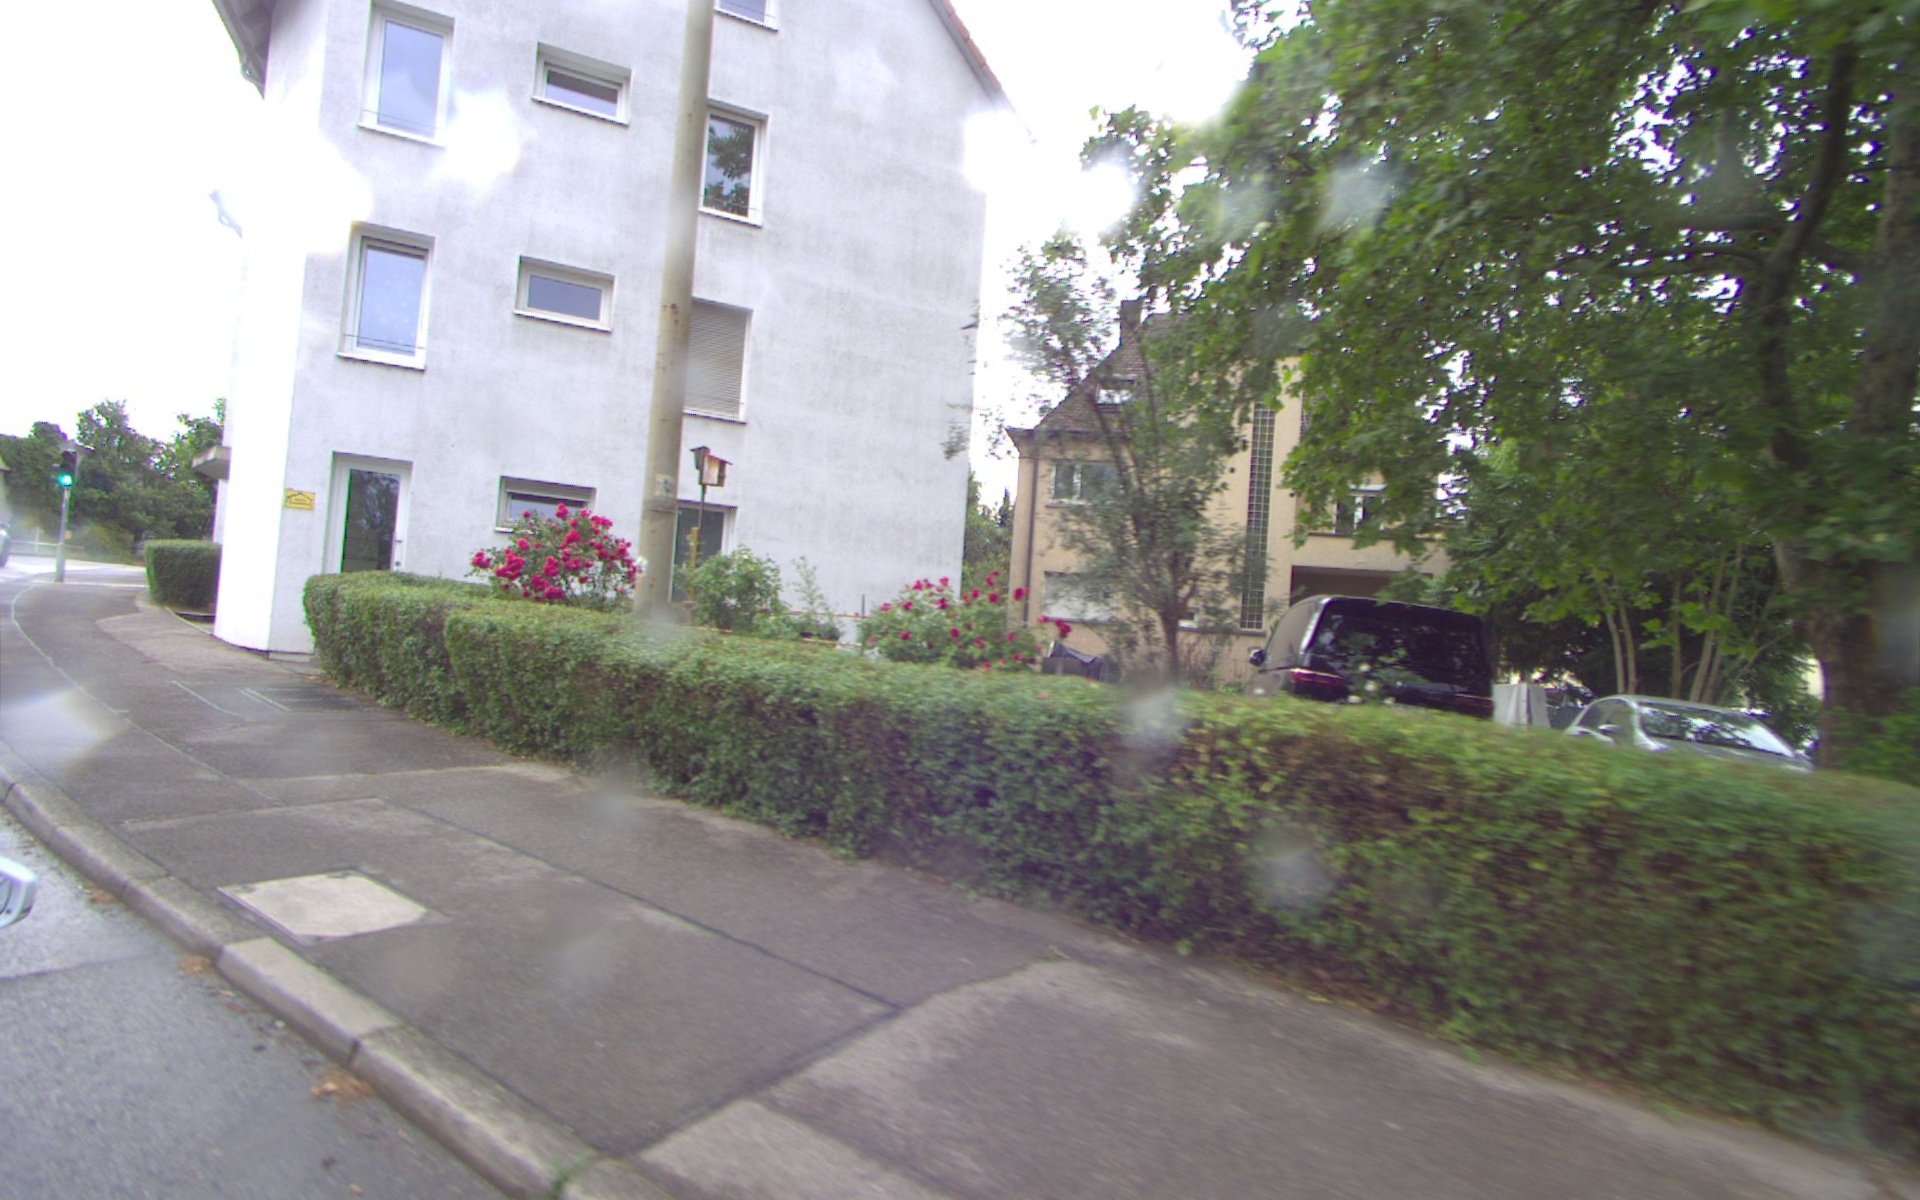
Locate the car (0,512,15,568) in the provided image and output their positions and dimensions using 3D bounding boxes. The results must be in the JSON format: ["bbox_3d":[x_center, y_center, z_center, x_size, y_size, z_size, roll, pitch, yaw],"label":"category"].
[{"bbox_3d":[-27.092,-1.748,27.013,1.865,1.548,3.962,7,-2,-36],"label":"car"}]

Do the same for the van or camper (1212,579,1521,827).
[{"bbox_3d":[4.046,0.985,10.879,1.962,1.926,4.333,6,-2,9],"label":"van or camper"}]

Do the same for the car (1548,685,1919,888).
[{"bbox_3d":[8.008,1.801,10.914,1.963,1.481,4.002,6,-2,20],"label":"car"}]
